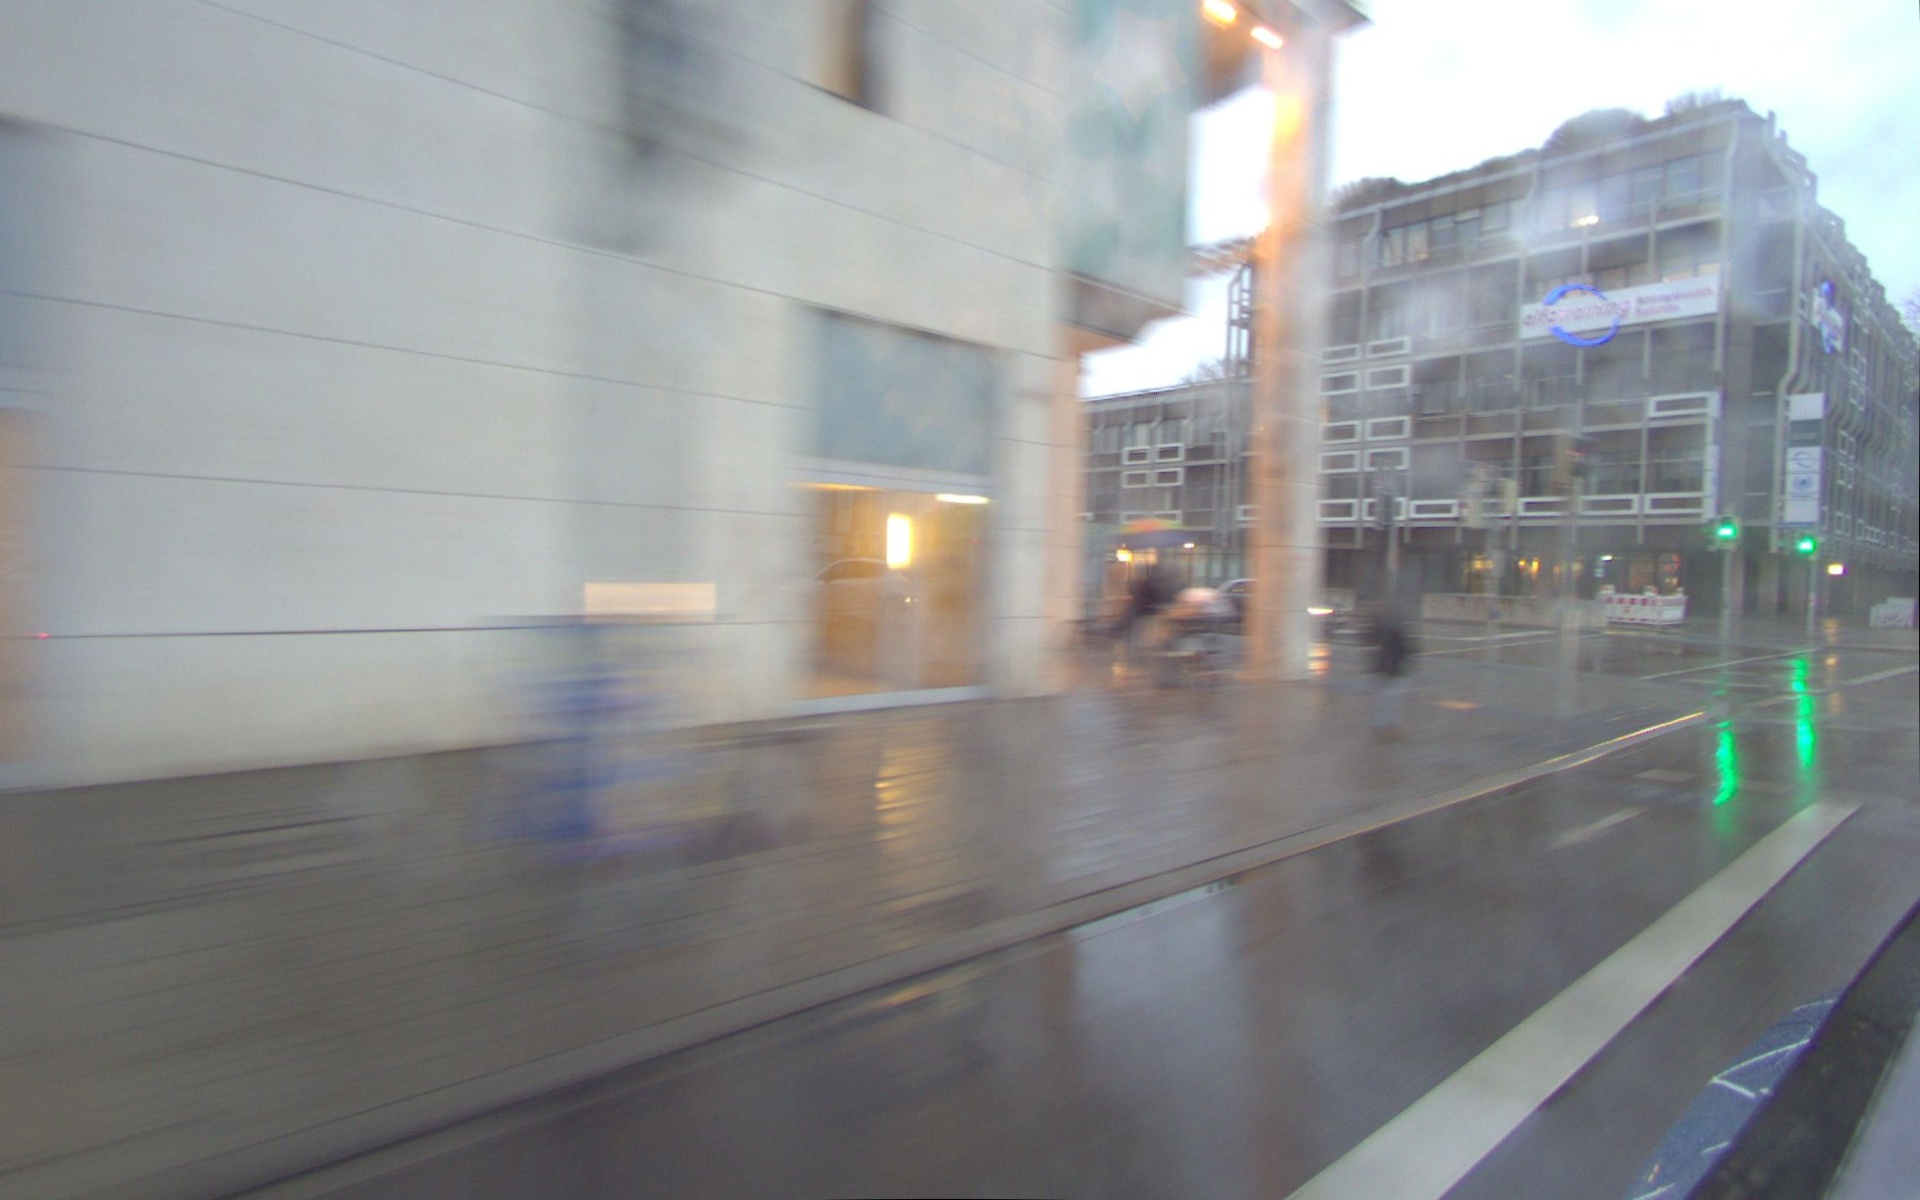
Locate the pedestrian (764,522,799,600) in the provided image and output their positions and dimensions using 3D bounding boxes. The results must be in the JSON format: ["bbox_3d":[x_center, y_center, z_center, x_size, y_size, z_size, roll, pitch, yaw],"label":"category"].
[{"bbox_3d":[-4.494,-0.970,25.485,0.824,1.932,0.628,1,0,-9],"label":"pedestrian"}]

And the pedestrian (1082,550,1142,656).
[{"bbox_3d":[2.398,0.033,15.962,0.492,1.628,0.779,1,0,-41],"label":"pedestrian"}]

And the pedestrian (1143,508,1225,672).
[{"bbox_3d":[3.089,-0.147,14.007,0.569,2.188,0.968,0,1,-30],"label":"pedestrian"}]

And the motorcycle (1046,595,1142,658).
[{"bbox_3d":[2.061,0.397,15.737,0.387,0.901,1.636,1,1,-40],"label":"motorcycle"}]

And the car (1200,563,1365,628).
[{"bbox_3d":[8.565,-0.177,27.093,1.824,1.509,3.826,-2,4,-39],"label":"car"}]

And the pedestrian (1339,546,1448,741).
[{"bbox_3d":[4.062,0.373,9.479,0.704,1.715,0.714,4,3,37],"label":"pedestrian"}]

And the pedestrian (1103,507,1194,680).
[{"bbox_3d":[2.520,-0.099,13.595,0.697,2.219,0.963,0,1,-30],"label":"pedestrian"}]

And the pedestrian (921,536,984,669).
[{"bbox_3d":[-0.113,0.026,14.365,0.613,1.828,0.615,1,0,-41],"label":"pedestrian"}]
